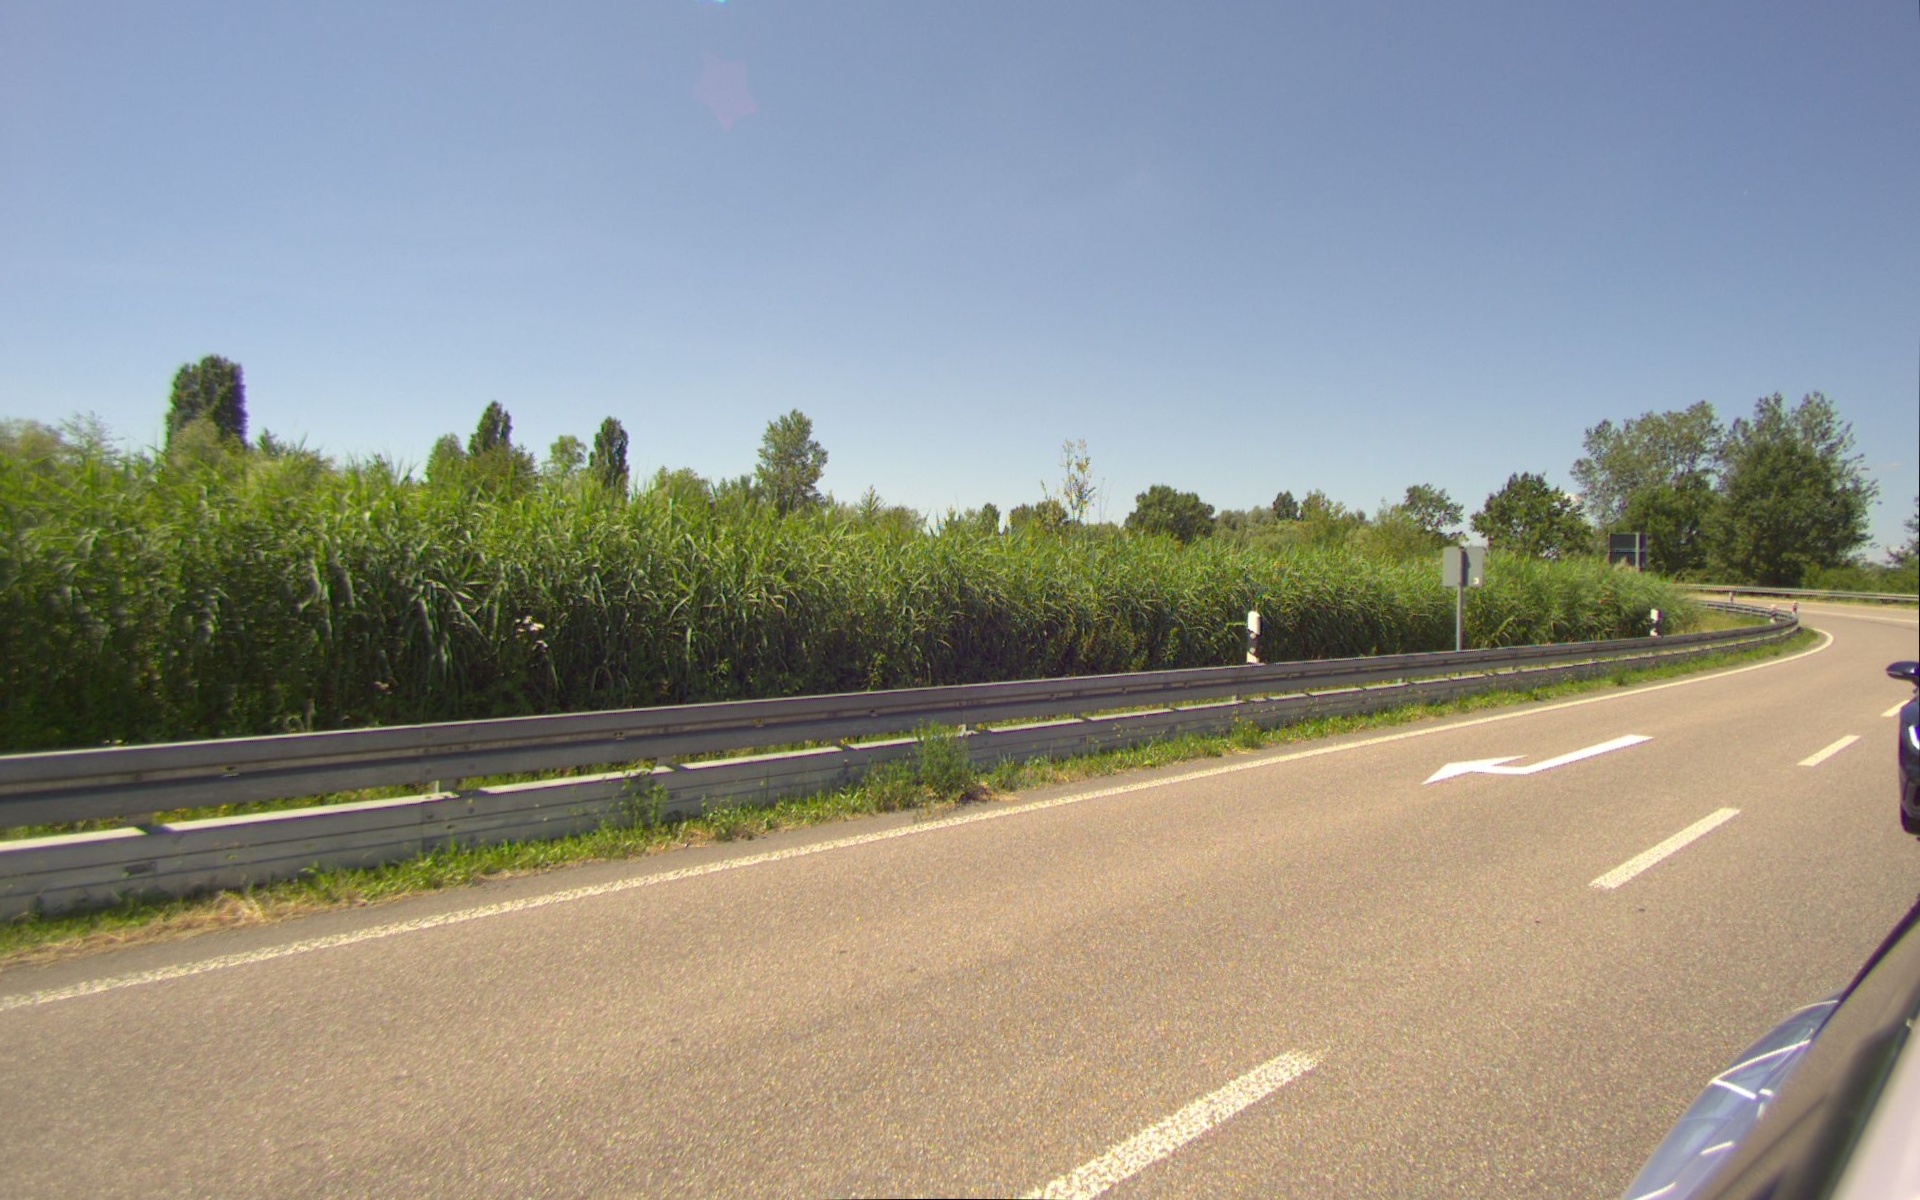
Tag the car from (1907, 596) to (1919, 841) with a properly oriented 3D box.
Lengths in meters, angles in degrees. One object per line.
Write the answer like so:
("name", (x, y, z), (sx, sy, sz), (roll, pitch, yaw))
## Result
("car", (7.614, 0.683, 6.581), (3.931, 1.427, 1.759), (-1, 0, -41))
